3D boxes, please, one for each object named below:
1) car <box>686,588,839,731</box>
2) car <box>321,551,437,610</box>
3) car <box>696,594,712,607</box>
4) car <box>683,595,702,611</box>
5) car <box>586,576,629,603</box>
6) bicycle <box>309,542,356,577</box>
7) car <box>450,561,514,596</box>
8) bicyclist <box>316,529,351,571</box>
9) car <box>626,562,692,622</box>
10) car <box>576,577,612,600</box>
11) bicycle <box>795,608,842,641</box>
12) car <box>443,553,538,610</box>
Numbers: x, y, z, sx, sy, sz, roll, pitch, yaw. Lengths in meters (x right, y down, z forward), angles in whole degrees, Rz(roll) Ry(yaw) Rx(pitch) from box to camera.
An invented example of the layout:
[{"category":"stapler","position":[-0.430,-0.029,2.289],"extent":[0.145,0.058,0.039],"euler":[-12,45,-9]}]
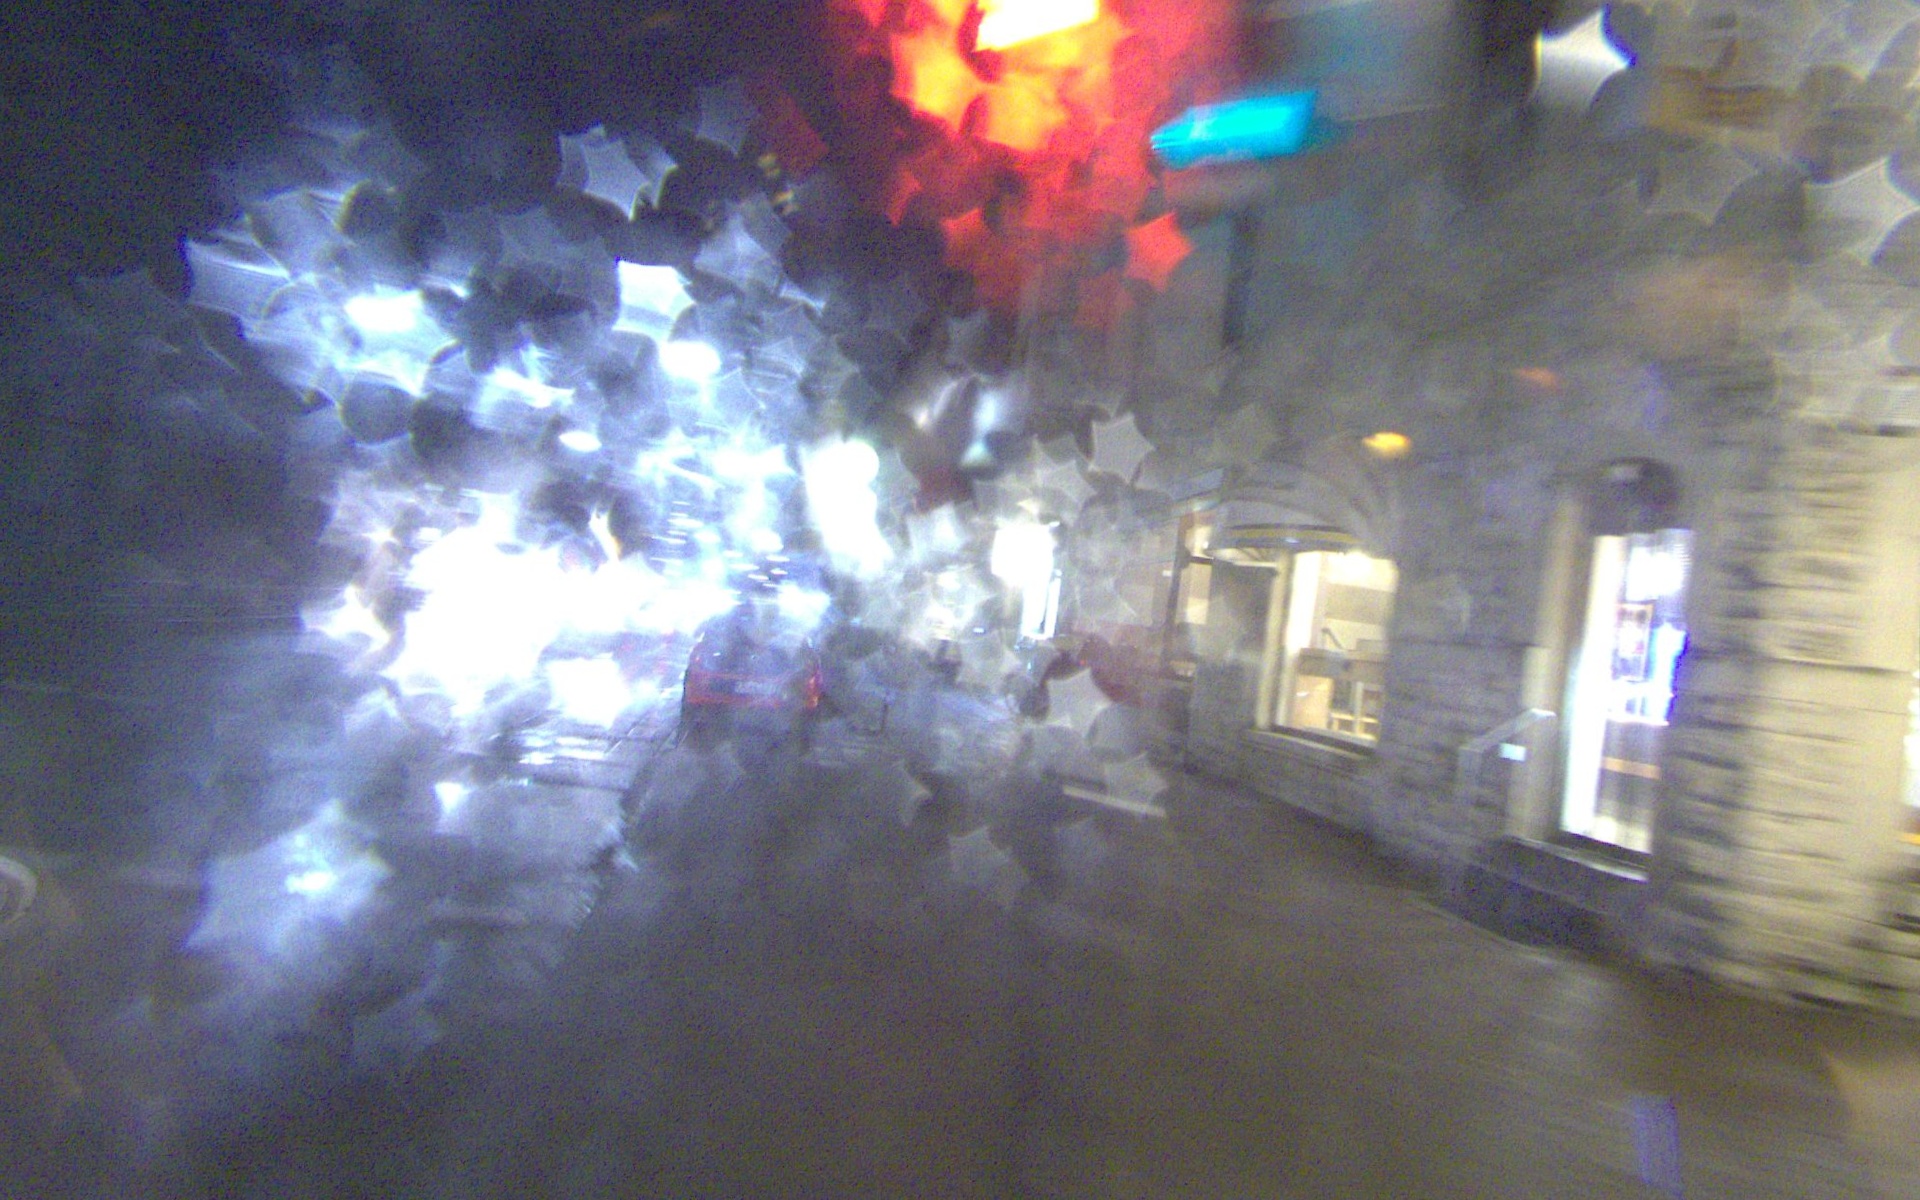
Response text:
[{"category":"car","position":[-2.529,0.689,13.190],"extent":[1.624,1.544,3.575],"euler":[3,-1,-10]},{"category":"car","position":[-22.891,-0.739,39.926],"extent":[1.968,1.846,5.300],"euler":[10,-1,-9]},{"category":"car","position":[-41.224,0.083,162.171],"extent":[1.974,1.804,3.997],"euler":[10,-3,-9]},{"category":"car","position":[-28.046,0.335,105.398],"extent":[1.630,1.497,4.196],"euler":[6,-1,-12]},{"category":"car","position":[-22.466,-0.649,64.244],"extent":[1.768,1.482,3.896],"euler":[7,-1,-8]},{"category":"bicycle","position":[-24.652,-1.580,39.571],"extent":[0.645,1.154,1.897],"euler":[9,-2,-6]},{"category":"car","position":[-24.531,-1.073,51.777],"extent":[1.743,1.422,4.135],"euler":[10,-2,-10]},{"category":"bicyclist","position":[-24.589,-1.945,39.516],"extent":[0.645,1.481,0.868],"euler":[9,-2,-6]},{"category":"car","position":[-14.610,-0.344,49.112],"extent":[2.188,2.470,5.376],"euler":[8,-2,-10]},{"category":"car","position":[-28.723,-0.895,78.978],"extent":[1.646,1.401,3.999],"euler":[10,-3,-8]},{"category":"bicycle","position":[-5.788,0.997,41.105],"extent":[1.788,1.178,0.492],"euler":[5,-1,-11]},{"category":"car","position":[-18.708,-0.668,40.335],"extent":[1.867,1.891,4.534],"euler":[6,-2,-6]}]
